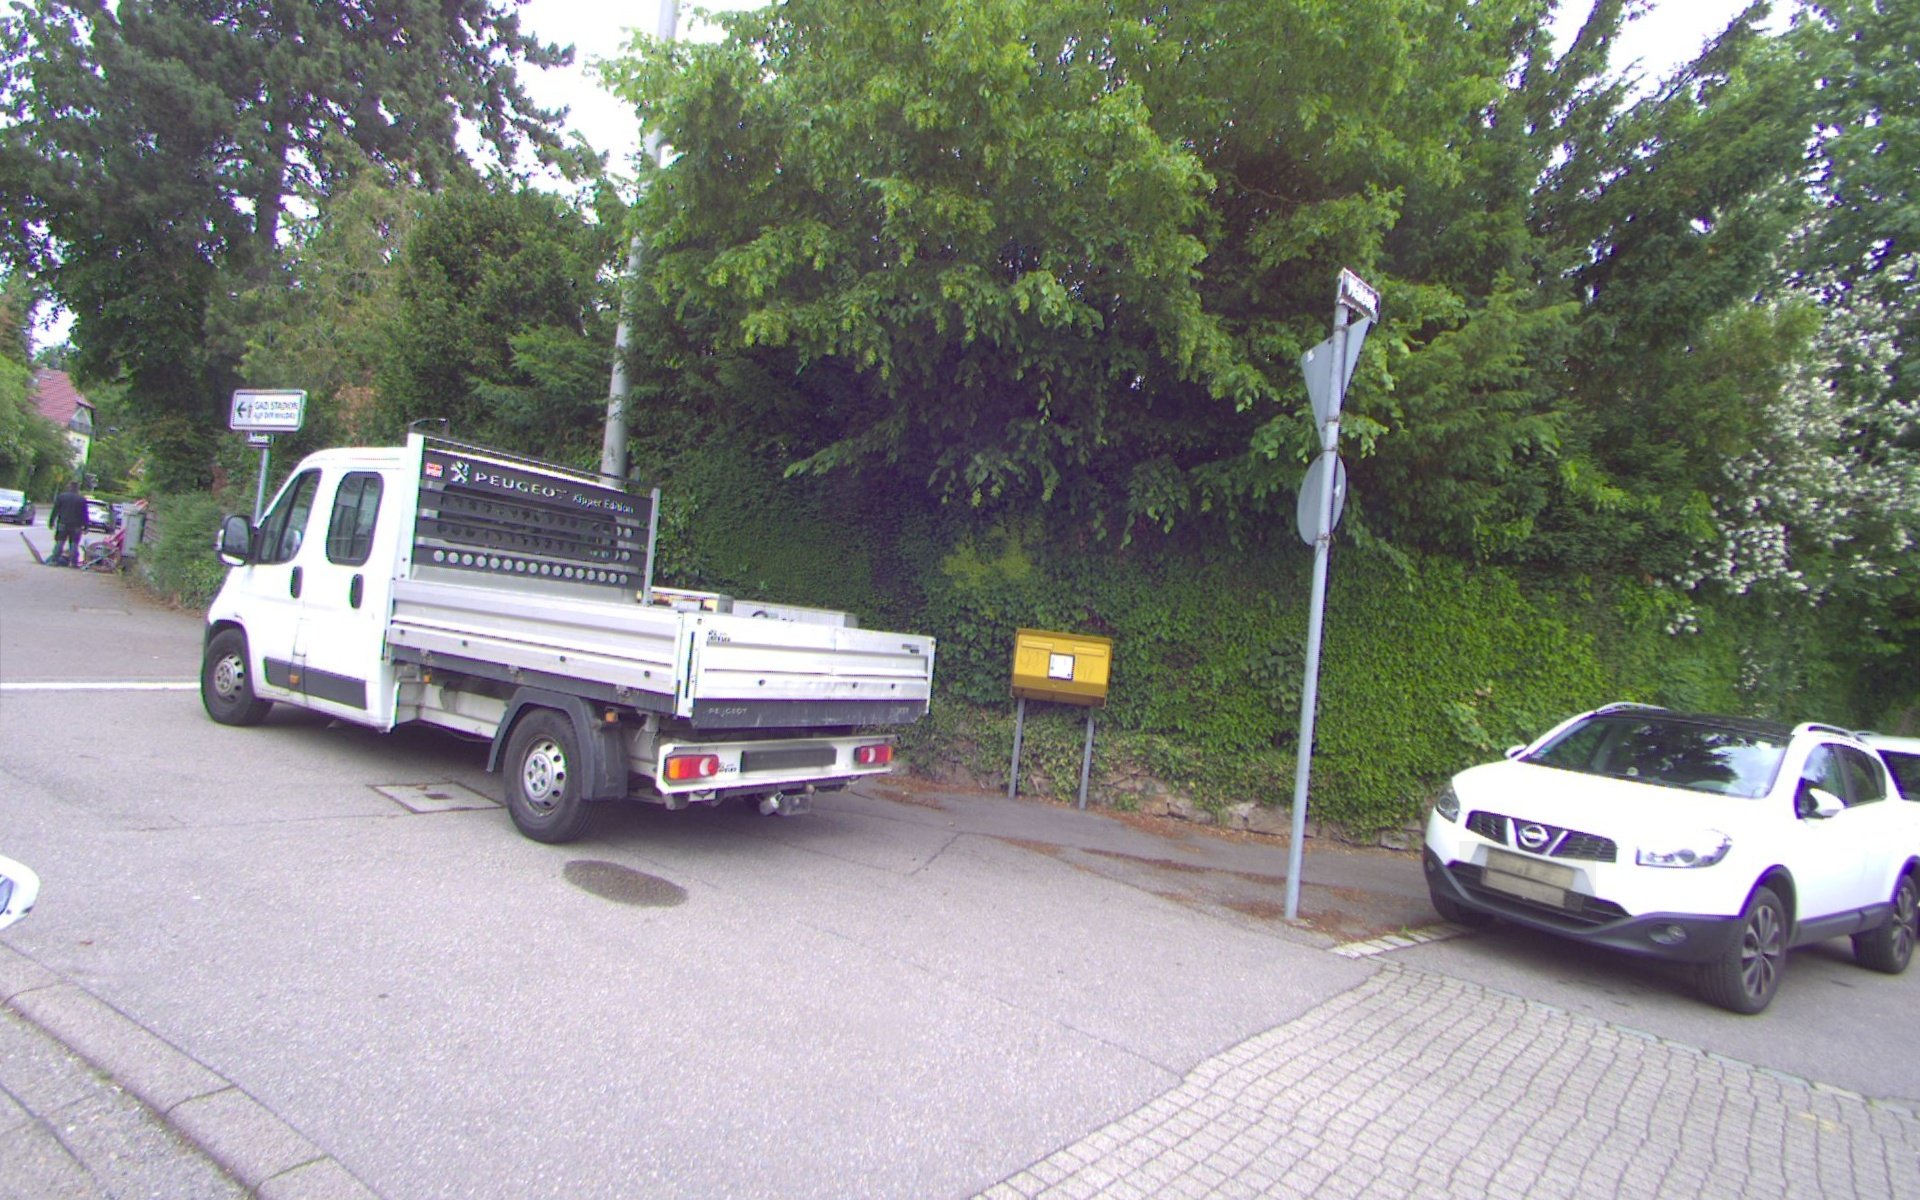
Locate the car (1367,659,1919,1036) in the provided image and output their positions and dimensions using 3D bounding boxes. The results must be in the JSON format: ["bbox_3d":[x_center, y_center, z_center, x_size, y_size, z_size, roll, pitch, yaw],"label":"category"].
[{"bbox_3d":[4.776,1.474,6.650,4.098,1.641,1.783,9,-2,-34],"label":"car"}]

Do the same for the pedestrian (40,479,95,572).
[{"bbox_3d":[-19.560,-1.635,22.054,0.549,1.929,0.597,7,-1,32],"label":"pedestrian"}]

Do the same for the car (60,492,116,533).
[{"bbox_3d":[-45.426,-4.543,52.499,1.798,1.775,4.441,7,0,-37],"label":"car"}]

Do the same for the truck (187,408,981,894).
[{"bbox_3d":[-2.924,0.089,7.156,5.631,2.270,2.211,6,-2,34],"label":"truck"}]

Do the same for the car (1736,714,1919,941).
[{"bbox_3d":[9.055,2.120,9.463,4.041,1.641,1.781,9,-3,-38],"label":"car"}]

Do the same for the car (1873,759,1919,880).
[{"bbox_3d":[13.837,3.024,13.408,4.040,1.440,1.781,8,-2,-38],"label":"car"}]

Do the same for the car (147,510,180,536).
[{"bbox_3d":[-72.791,-7.044,91.997,1.910,1.915,4.859,10,-2,-36],"label":"car"}]

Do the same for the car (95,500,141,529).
[{"bbox_3d":[-53.661,-5.442,64.184,1.790,1.545,4.697,7,0,-36],"label":"car"}]

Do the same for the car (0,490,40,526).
[{"bbox_3d":[-43.040,-4.208,45.085,1.928,1.420,4.697,9,-1,-35],"label":"car"}]
